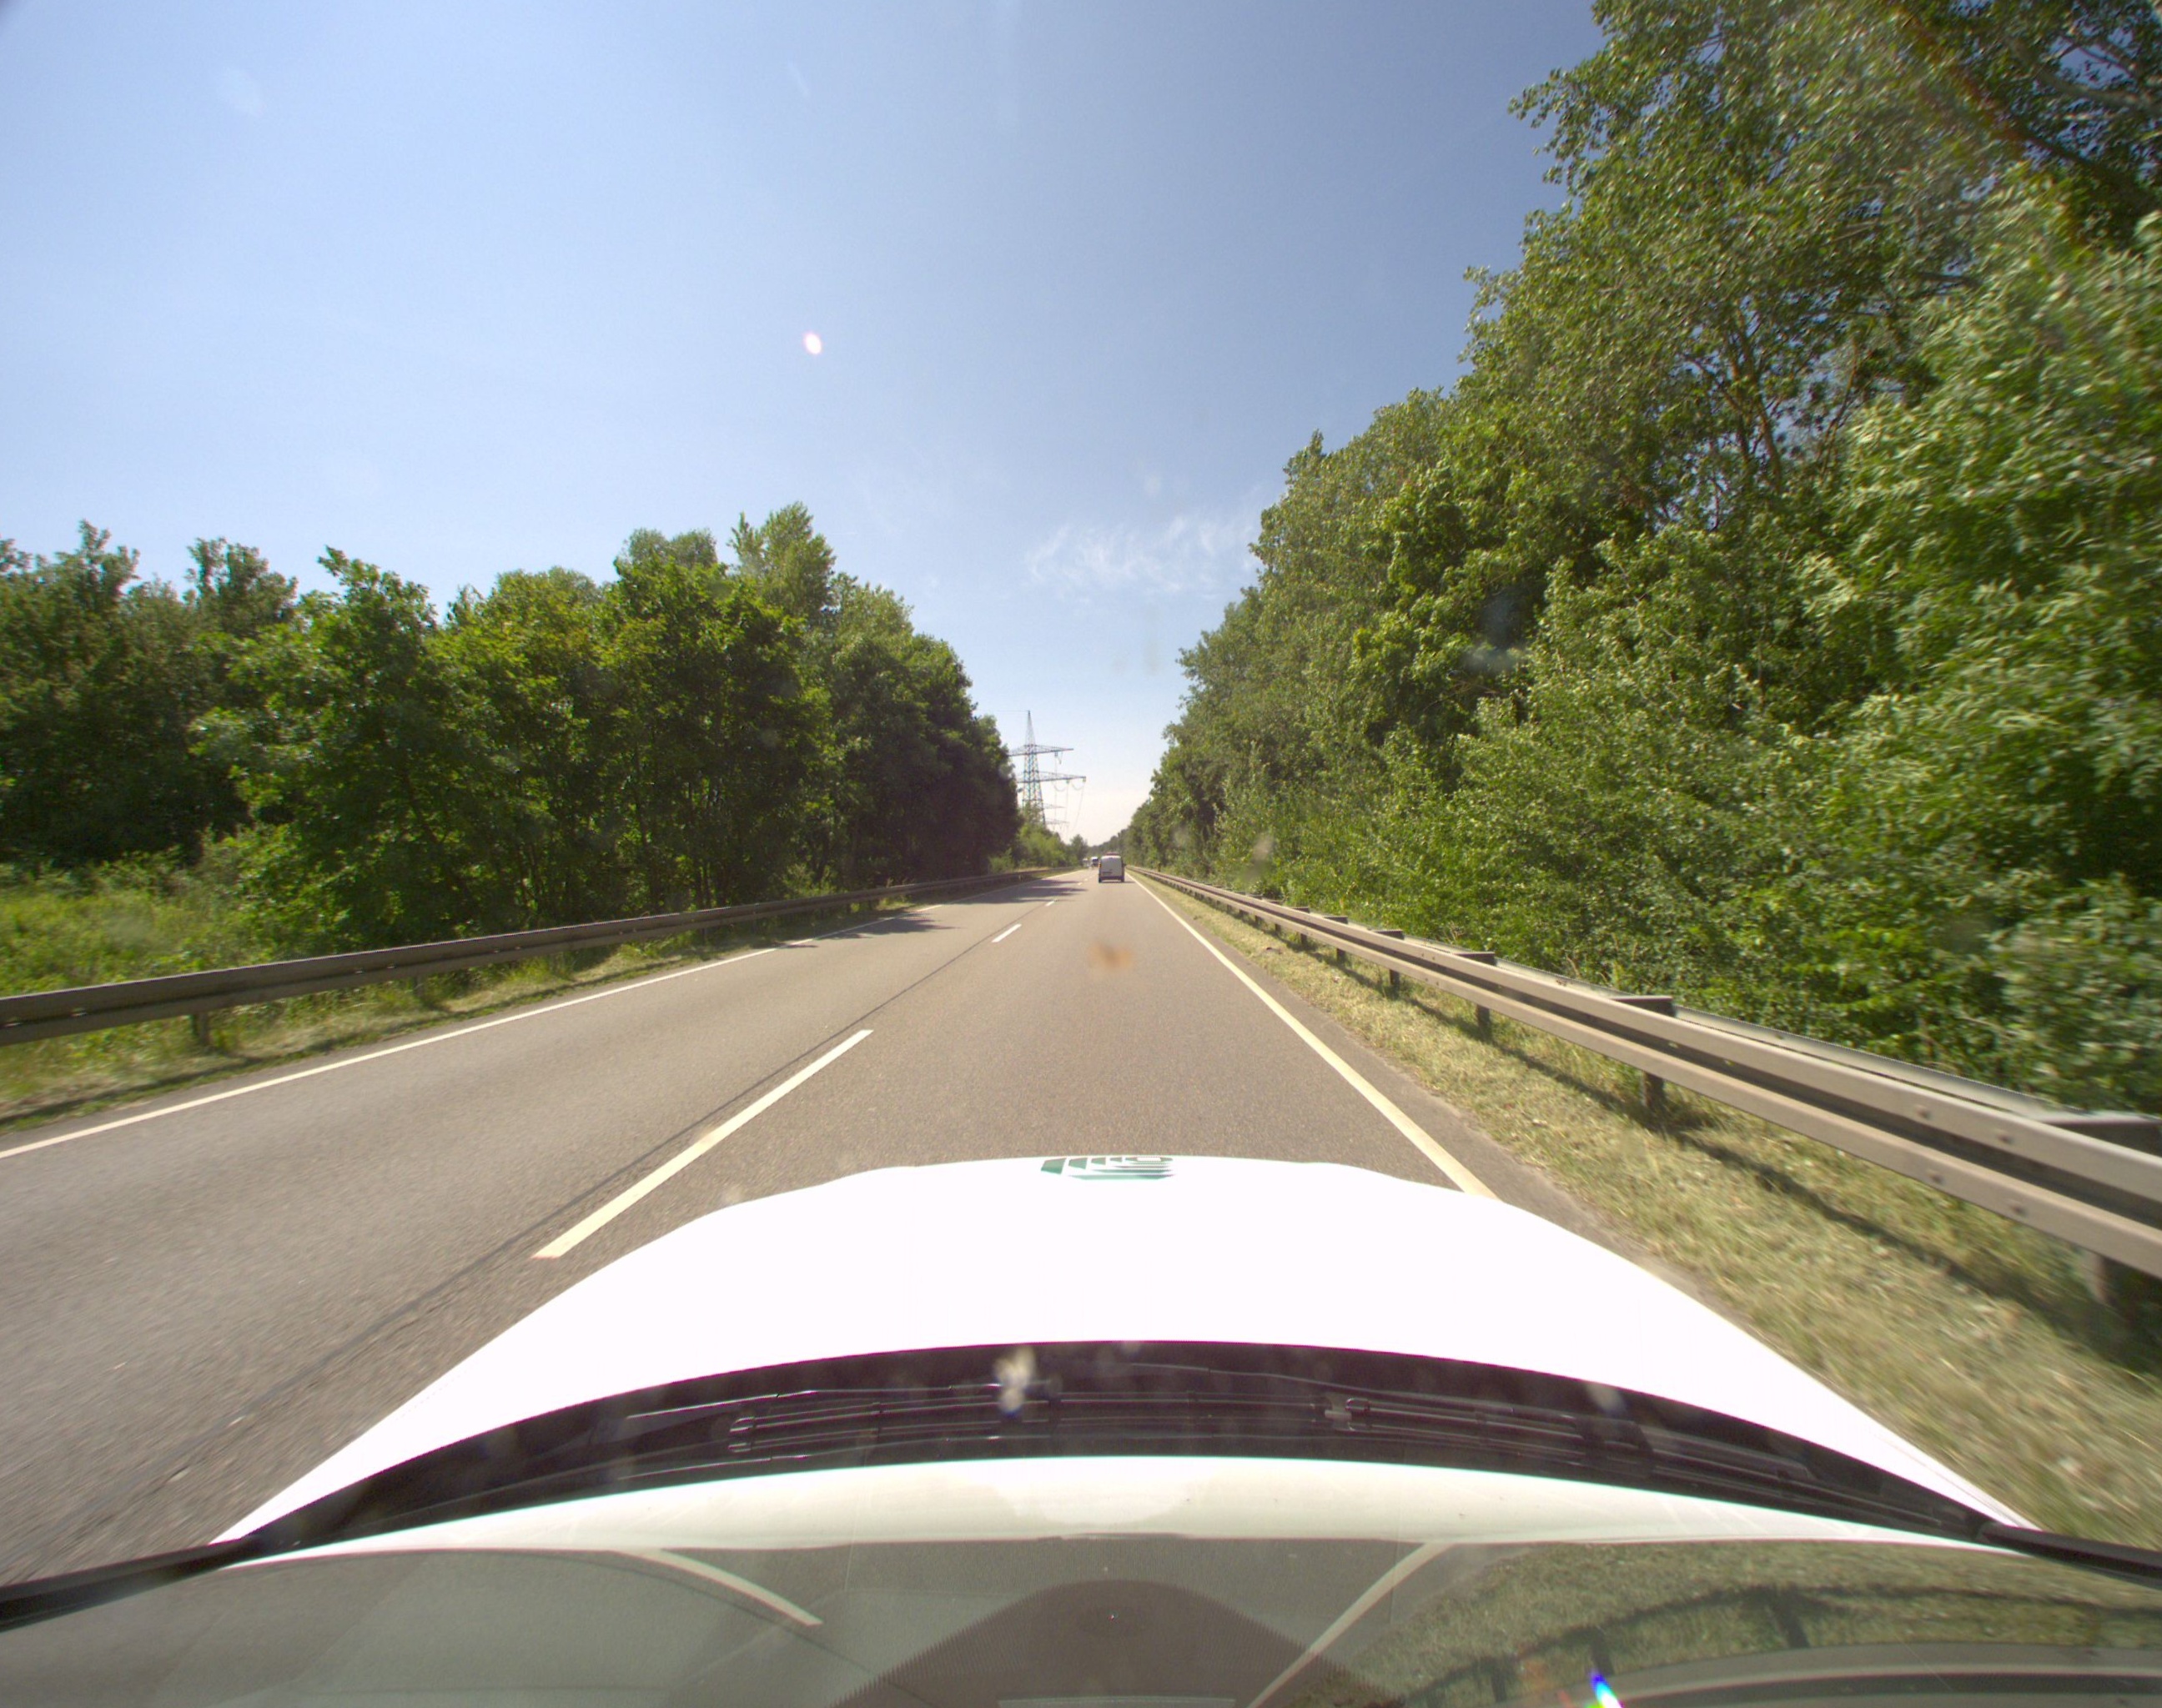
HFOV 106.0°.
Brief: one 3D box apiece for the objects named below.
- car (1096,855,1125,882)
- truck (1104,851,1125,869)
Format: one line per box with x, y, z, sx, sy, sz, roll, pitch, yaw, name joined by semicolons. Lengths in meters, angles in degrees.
2.029;0.941;55.582;1.868;1.741;4.002;-1;0;2;car
6.080;1.061;150.086;3.286;3.172;14.402;-1;0;0;truck
